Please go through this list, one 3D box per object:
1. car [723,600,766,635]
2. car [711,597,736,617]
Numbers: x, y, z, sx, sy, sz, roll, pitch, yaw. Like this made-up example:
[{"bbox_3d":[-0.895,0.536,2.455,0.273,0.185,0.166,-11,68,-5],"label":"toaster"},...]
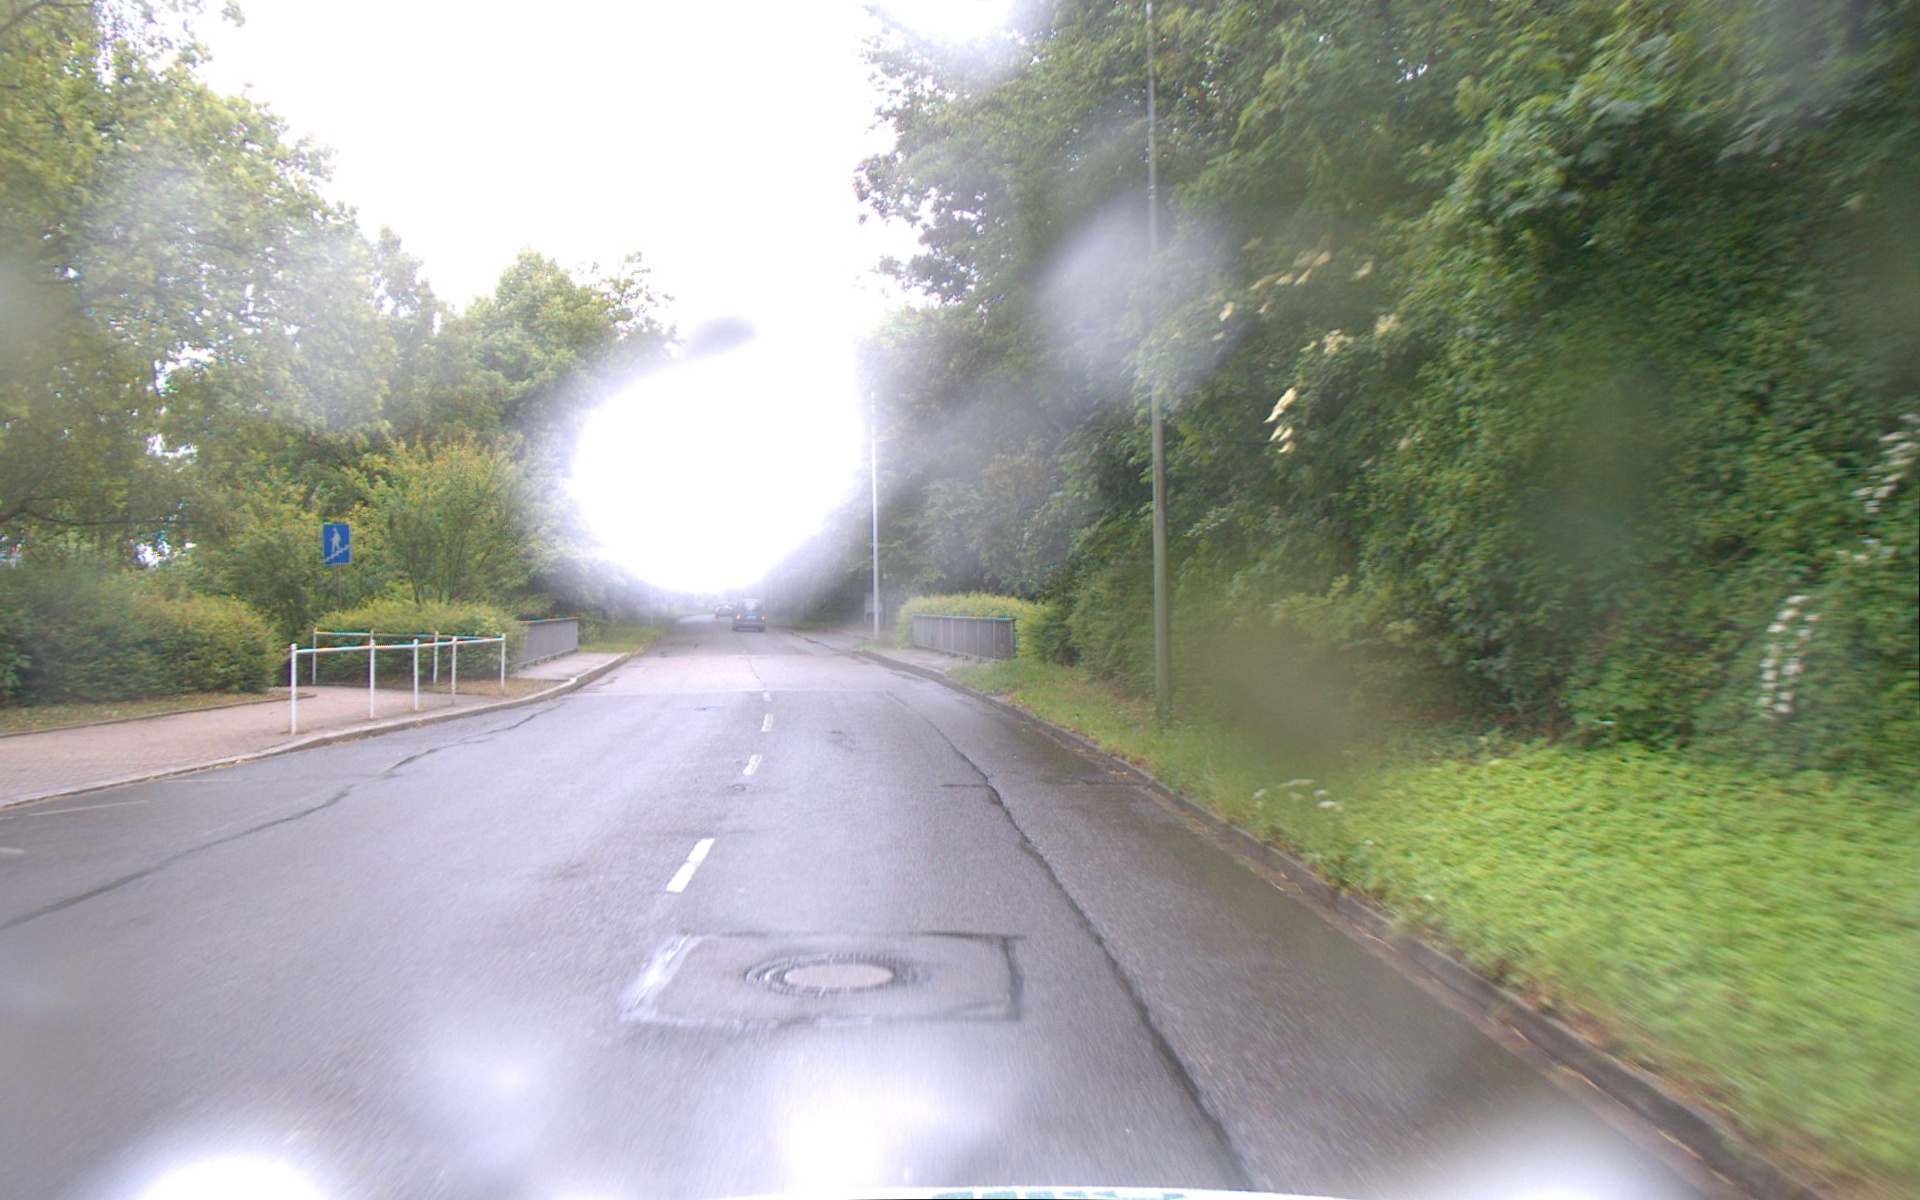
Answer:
[{"bbox_3d":[-12.553,0.994,96.256,1.952,1.959,3.984,0,0,-15],"label":"car"},{"bbox_3d":[-21.731,0.634,152.051,1.958,1.847,3.988,1,-1,-12],"label":"car"}]
